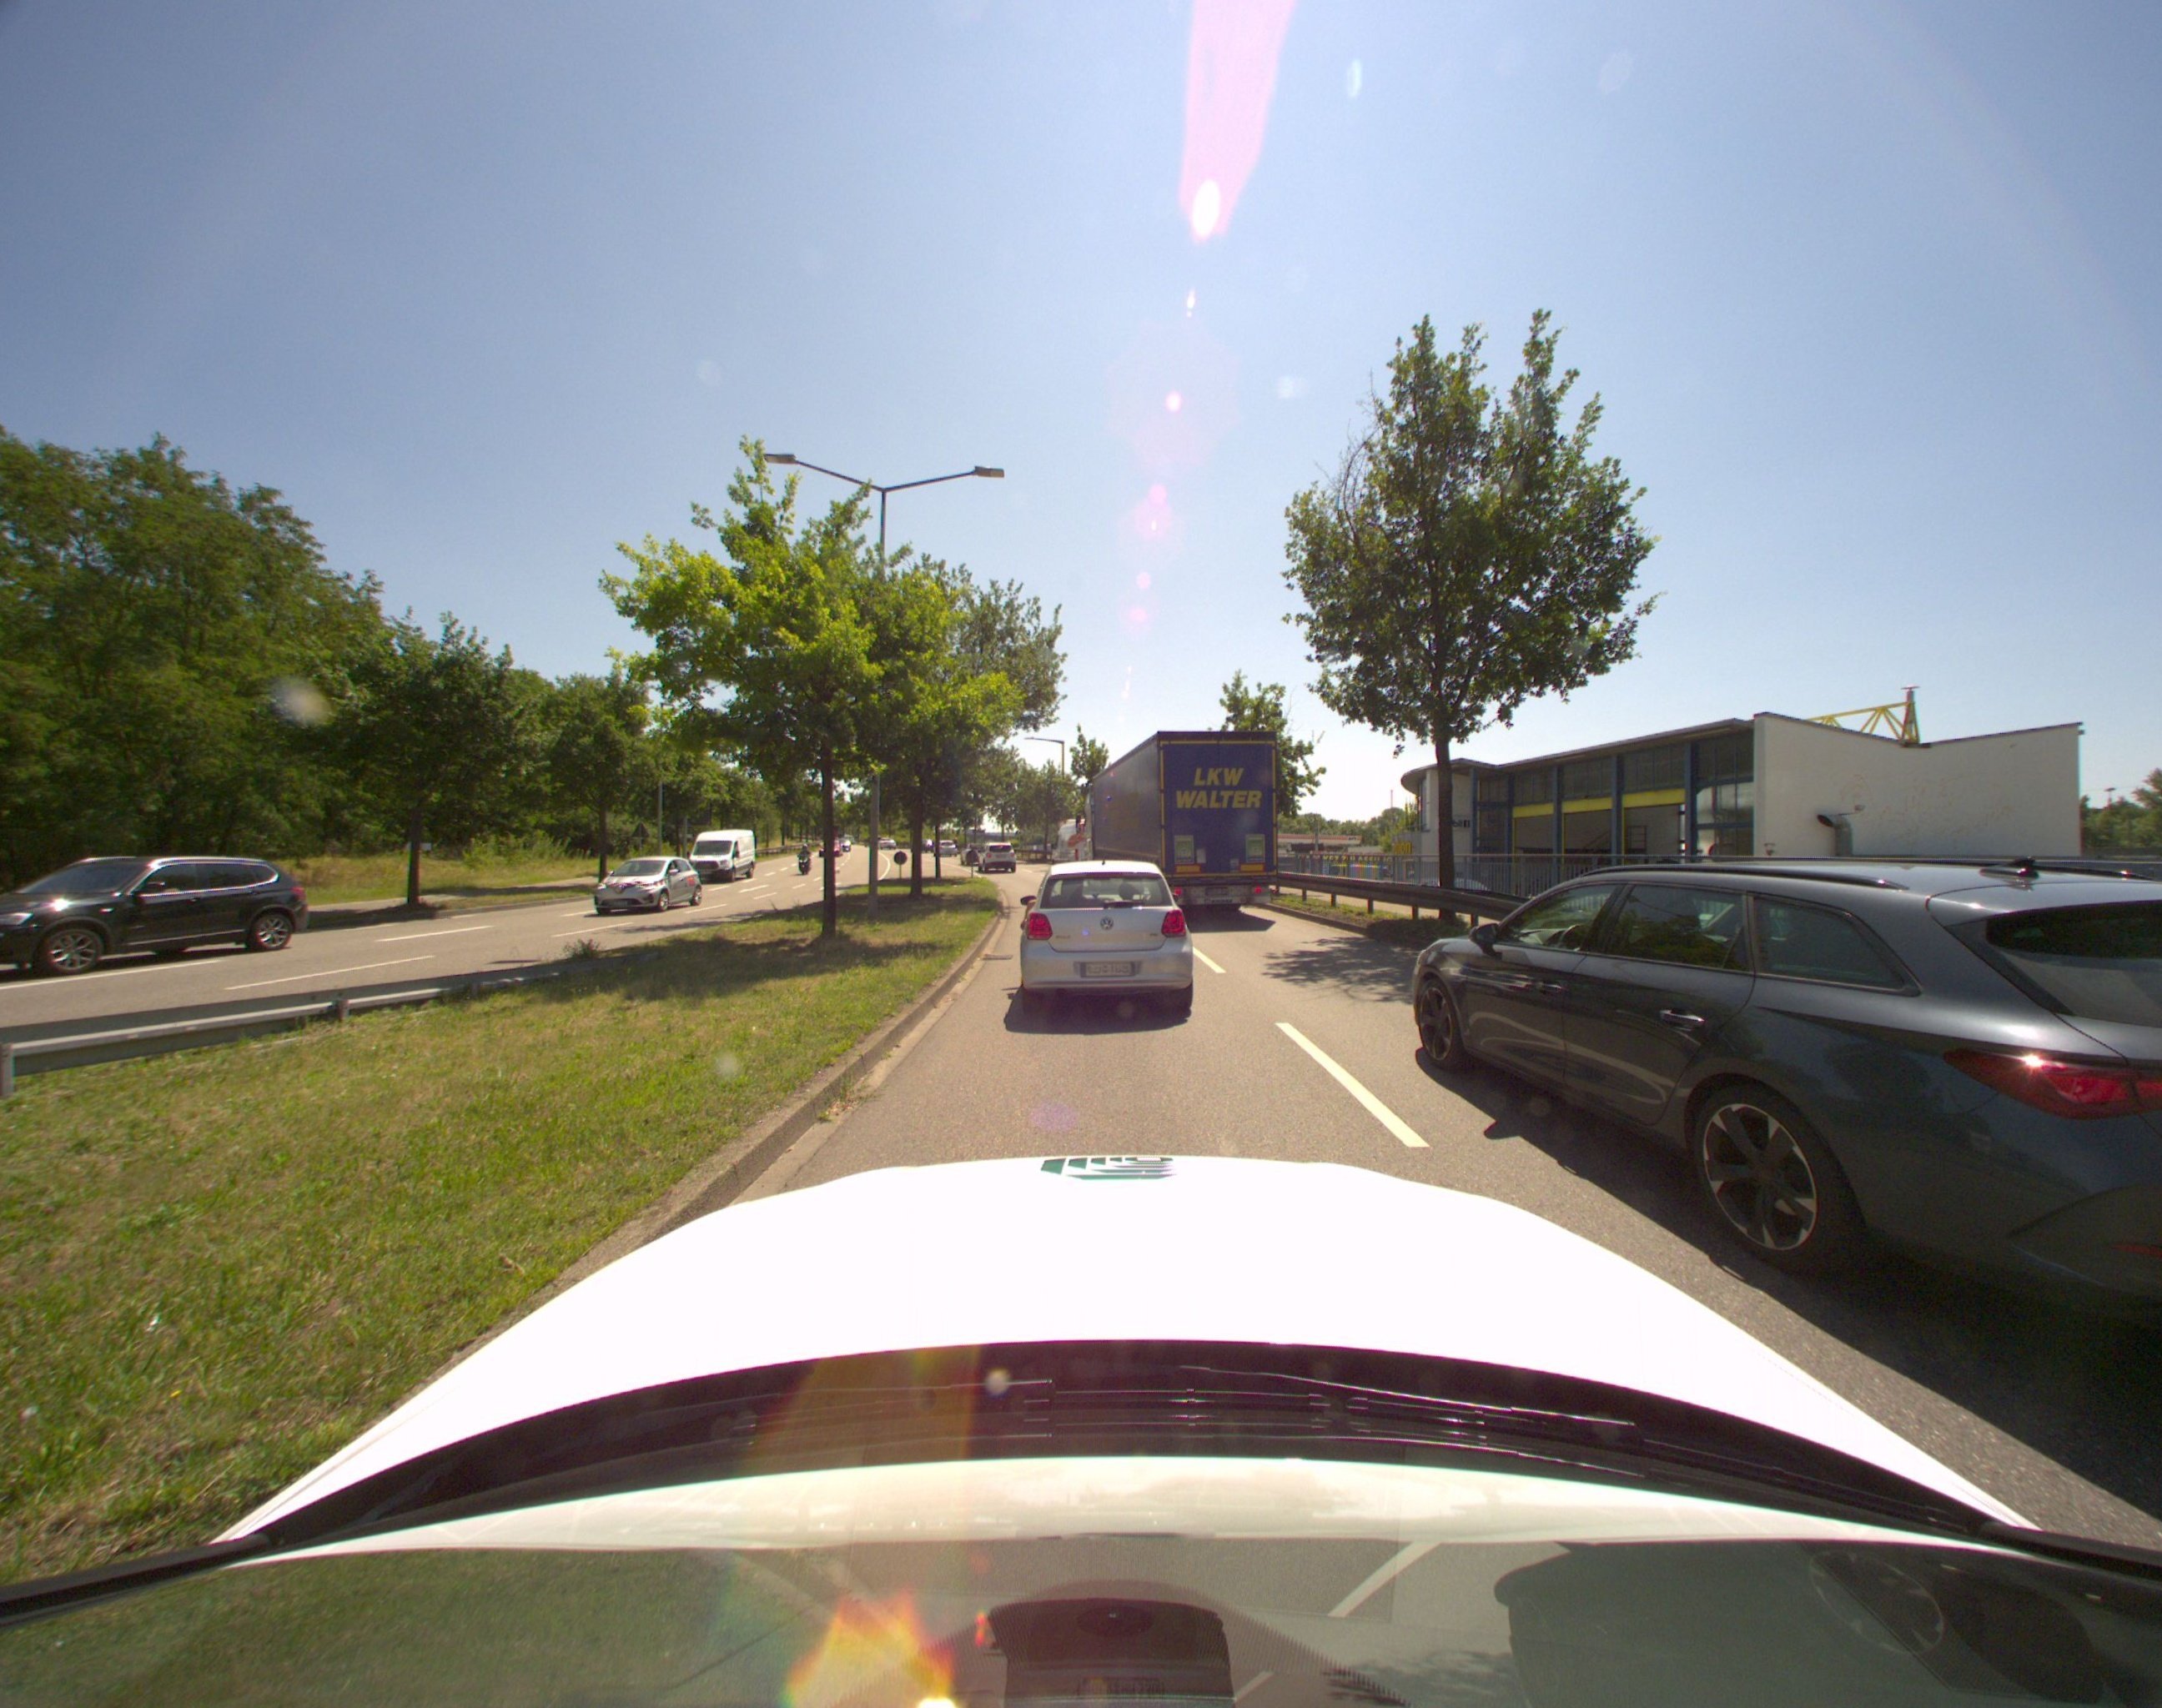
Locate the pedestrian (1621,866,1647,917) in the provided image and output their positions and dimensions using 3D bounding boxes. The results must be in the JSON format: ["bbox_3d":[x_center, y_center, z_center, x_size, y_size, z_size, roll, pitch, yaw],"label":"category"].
[{"bbox_3d":[18.572,1.259,27.363,0.520,1.703,0.487,0,-1,-5],"label":"pedestrian"}]

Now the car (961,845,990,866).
[{"bbox_3d":[-7.248,0.105,55.798,1.497,1.360,3.644,0,0,-15],"label":"car"}]

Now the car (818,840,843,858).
[{"bbox_3d":[-22.767,-0.429,74.094,1.833,1.437,4.505,-2,0,-13],"label":"car"}]

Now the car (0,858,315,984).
[{"bbox_3d":[-14.823,0.890,12.783,1.485,1.633,4.469,0,0,-2],"label":"car"}]

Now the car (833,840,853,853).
[{"bbox_3d":[-26.148,-0.780,89.643,1.811,1.333,4.549,0,0,-13],"label":"car"}]

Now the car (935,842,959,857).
[{"bbox_3d":[-12.401,-0.450,75.070,1.613,1.360,3.639,0,0,-19],"label":"car"}]

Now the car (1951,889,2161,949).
[{"bbox_3d":[23.990,1.529,19.916,3.568,1.253,1.488,-1,-1,42],"label":"car"}]

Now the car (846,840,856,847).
[{"bbox_3d":[-36.726,-1.680,130.067,1.325,1.139,2.976,0,-1,-18],"label":"car"}]

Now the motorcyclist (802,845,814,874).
[{"bbox_3d":[-15.509,0.294,46.211,0.587,1.626,0.560,0,-1,-13],"label":"motorcyclist"}]

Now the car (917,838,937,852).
[{"bbox_3d":[-16.601,-0.941,87.782,1.669,1.465,3.559,0,-1,-18],"label":"car"}]

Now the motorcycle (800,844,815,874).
[{"bbox_3d":[-15.542,0.268,46.348,0.598,1.678,2.414,0,-1,-13],"label":"motorcycle"}]

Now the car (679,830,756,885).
[{"bbox_3d":[-17.899,0.110,40.460,2.095,2.500,5.789,-1,1,-10],"label":"car"}]

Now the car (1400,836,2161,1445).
[{"bbox_3d":[3.236,0.698,4.088,1.599,1.456,4.234,0,0,0],"label":"car"}]

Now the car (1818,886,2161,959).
[{"bbox_3d":[20.485,1.477,18.704,5.017,1.358,2.013,-1,-1,34],"label":"car"}]

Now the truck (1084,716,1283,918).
[{"bbox_3d":[2.192,-0.816,25.281,2.828,4.198,16.446,0,0,-5],"label":"truck"}]

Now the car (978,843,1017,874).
[{"bbox_3d":[-4.826,0.264,46.656,1.904,1.718,4.208,0,-1,-10],"label":"car"}]

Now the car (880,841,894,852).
[{"bbox_3d":[-23.741,-0.921,99.713,1.460,1.314,3.616,0,-1,-18],"label":"car"}]

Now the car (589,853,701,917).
[{"bbox_3d":[-12.497,0.802,23.608,1.635,1.567,4.058,-1,1,-10],"label":"car"}]

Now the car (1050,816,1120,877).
[{"bbox_3d":[0.081,-0.415,41.712,2.178,2.900,6.331,0,1,-13],"label":"car"}]

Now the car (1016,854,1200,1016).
[{"bbox_3d":[0.267,0.734,9.047,1.640,1.439,3.537,0,0,1],"label":"car"}]

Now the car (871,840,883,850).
[{"bbox_3d":[-27.736,-1.266,110.687,1.421,1.314,3.317,0,-1,-18],"label":"car"}]
